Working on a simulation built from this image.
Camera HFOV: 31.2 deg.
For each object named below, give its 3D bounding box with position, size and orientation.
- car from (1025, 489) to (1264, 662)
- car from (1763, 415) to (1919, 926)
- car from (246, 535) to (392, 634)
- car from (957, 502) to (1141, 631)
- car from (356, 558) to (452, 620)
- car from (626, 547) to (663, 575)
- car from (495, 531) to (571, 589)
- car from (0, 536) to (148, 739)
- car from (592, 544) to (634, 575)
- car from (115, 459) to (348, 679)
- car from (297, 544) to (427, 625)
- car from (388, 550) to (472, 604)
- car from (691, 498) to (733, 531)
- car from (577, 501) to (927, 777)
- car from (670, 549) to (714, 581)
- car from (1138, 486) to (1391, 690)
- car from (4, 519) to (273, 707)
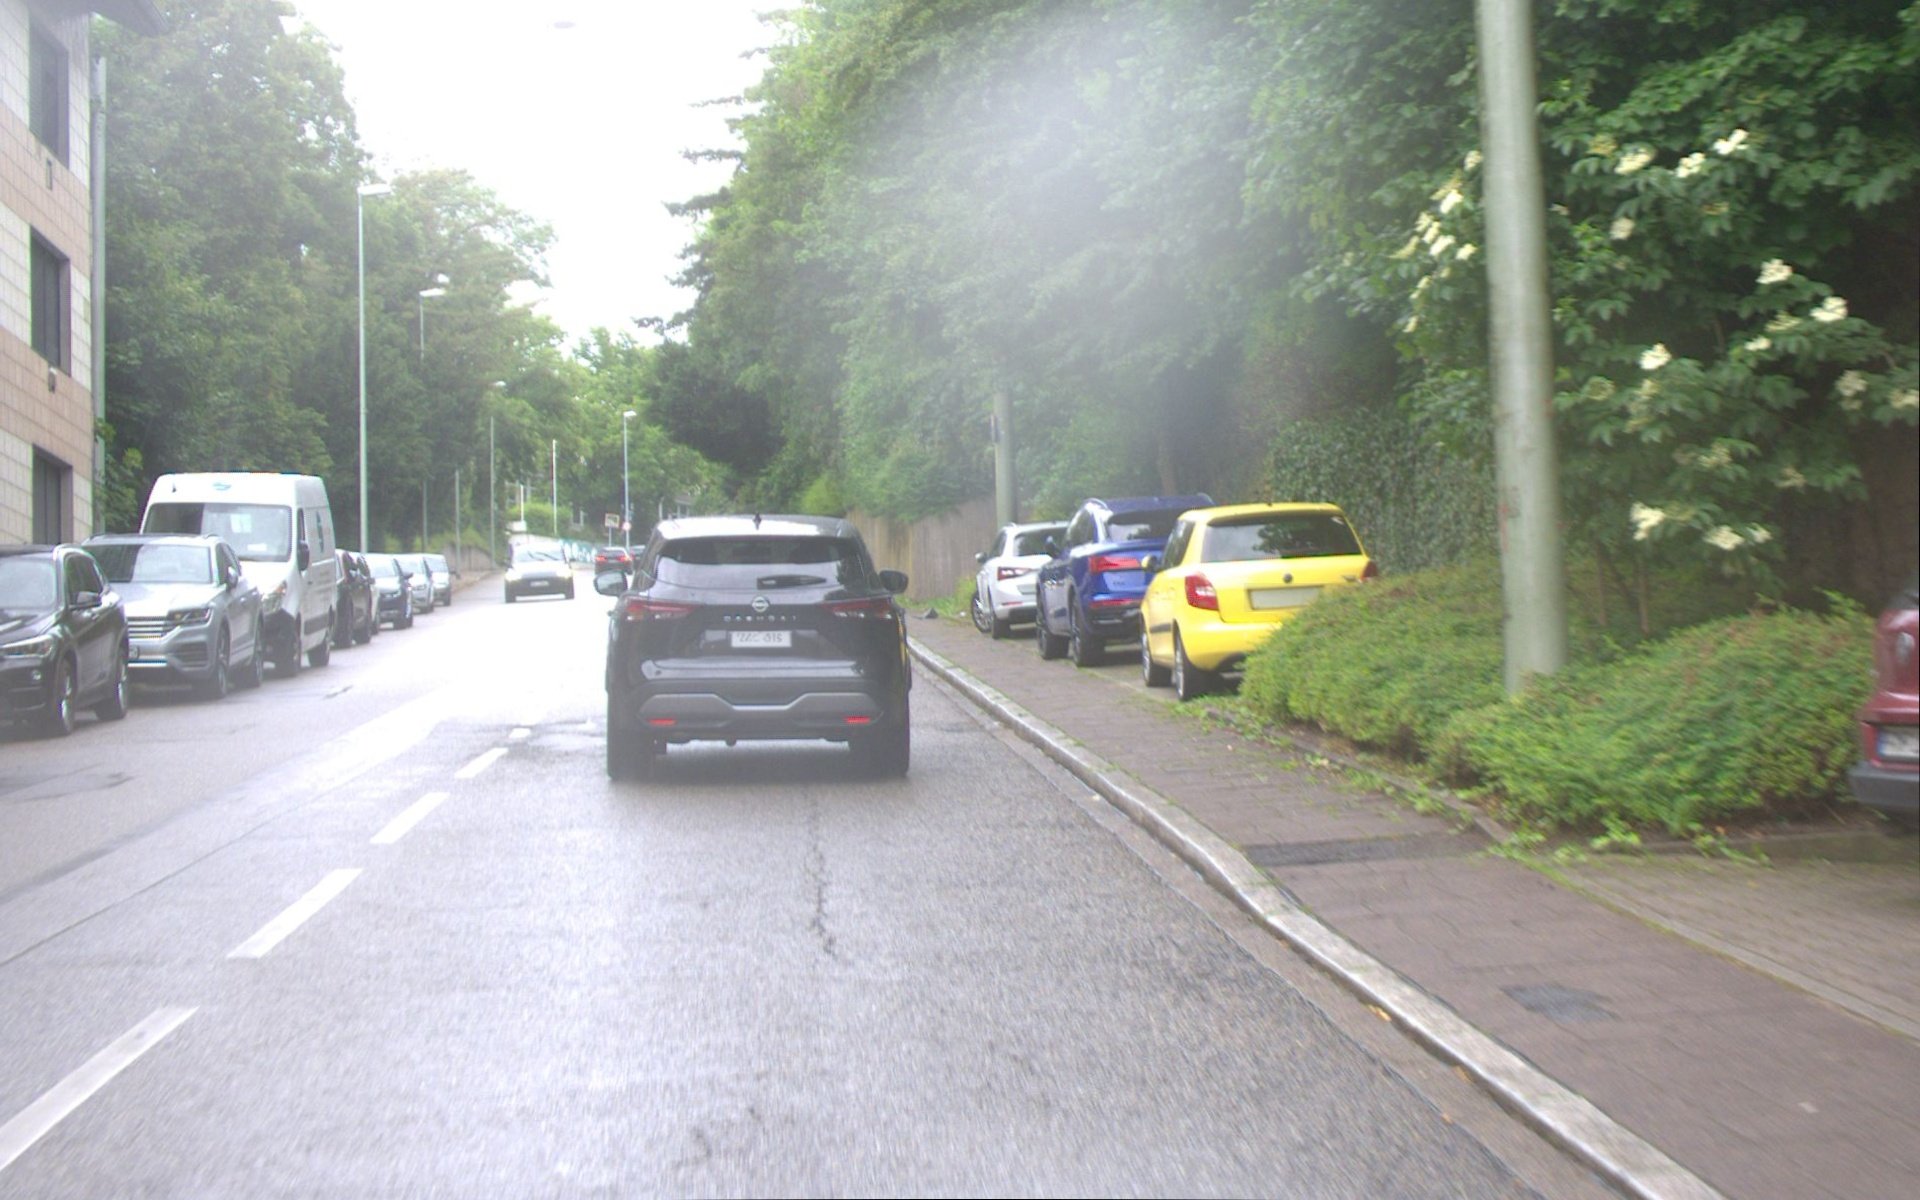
[{"bbox_3d":[1.799,-0.278,34.921,1.810,1.524,4.418,-4,1,-4],"label":"car"},{"bbox_3d":[5.264,0.248,12.473,4.197,1.728,1.760,1,1,-7],"label":"car"},{"bbox_3d":[-11.109,-0.299,59.884,1.990,1.561,4.459,-2,2,-5],"label":"car"},{"bbox_3d":[1.131,-0.465,45.894,1.810,1.524,4.418,-4,1,-6],"label":"car"},{"bbox_3d":[-14.028,-0.298,86.911,1.990,1.379,4.459,-2,2,-5],"label":"car"},{"bbox_3d":[-18.385,-2.273,200.294,2.074,1.554,4.001,-1,1,-5],"label":"car"},{"bbox_3d":[-12.064,-1.160,97.406,1.993,1.554,4.001,-1,2,-5],"label":"car"},{"bbox_3d":[-8.383,0.286,29.670,1.990,1.579,4.306,-2,2,-5],"label":"car"},{"bbox_3d":[-18.272,-2.160,181.082,2.074,1.554,4.001,-1,1,-5],"label":"car"},{"bbox_3d":[-8.906,-0.430,42.512,1.990,2.466,5.785,-2,2,-5],"label":"car"},{"bbox_3d":[-11.419,-0.324,65.879,1.990,1.379,4.459,-2,2,-5],"label":"car"},{"bbox_3d":[-15.064,-0.681,97.958,1.990,1.379,4.459,-2,2,-5],"label":"car"},{"bbox_3d":[-13.493,-4.655,187.412,1.993,1.554,4.000,-3,0,-1],"label":"car"},{"bbox_3d":[-1.314,0.164,21.730,1.993,1.554,4.001,0,2,-3],"label":"car"},{"bbox_3d":[-13.541,-1.776,173.528,2.074,1.554,4.001,-1,1,-7],"label":"car"},{"bbox_3d":[2.406,-0.137,27.979,1.633,1.525,4.000,-1,1,-1],"label":"car"},{"bbox_3d":[-8.458,0.077,35.776,1.990,1.749,4.481,-2,2,-5],"label":"car"}]
